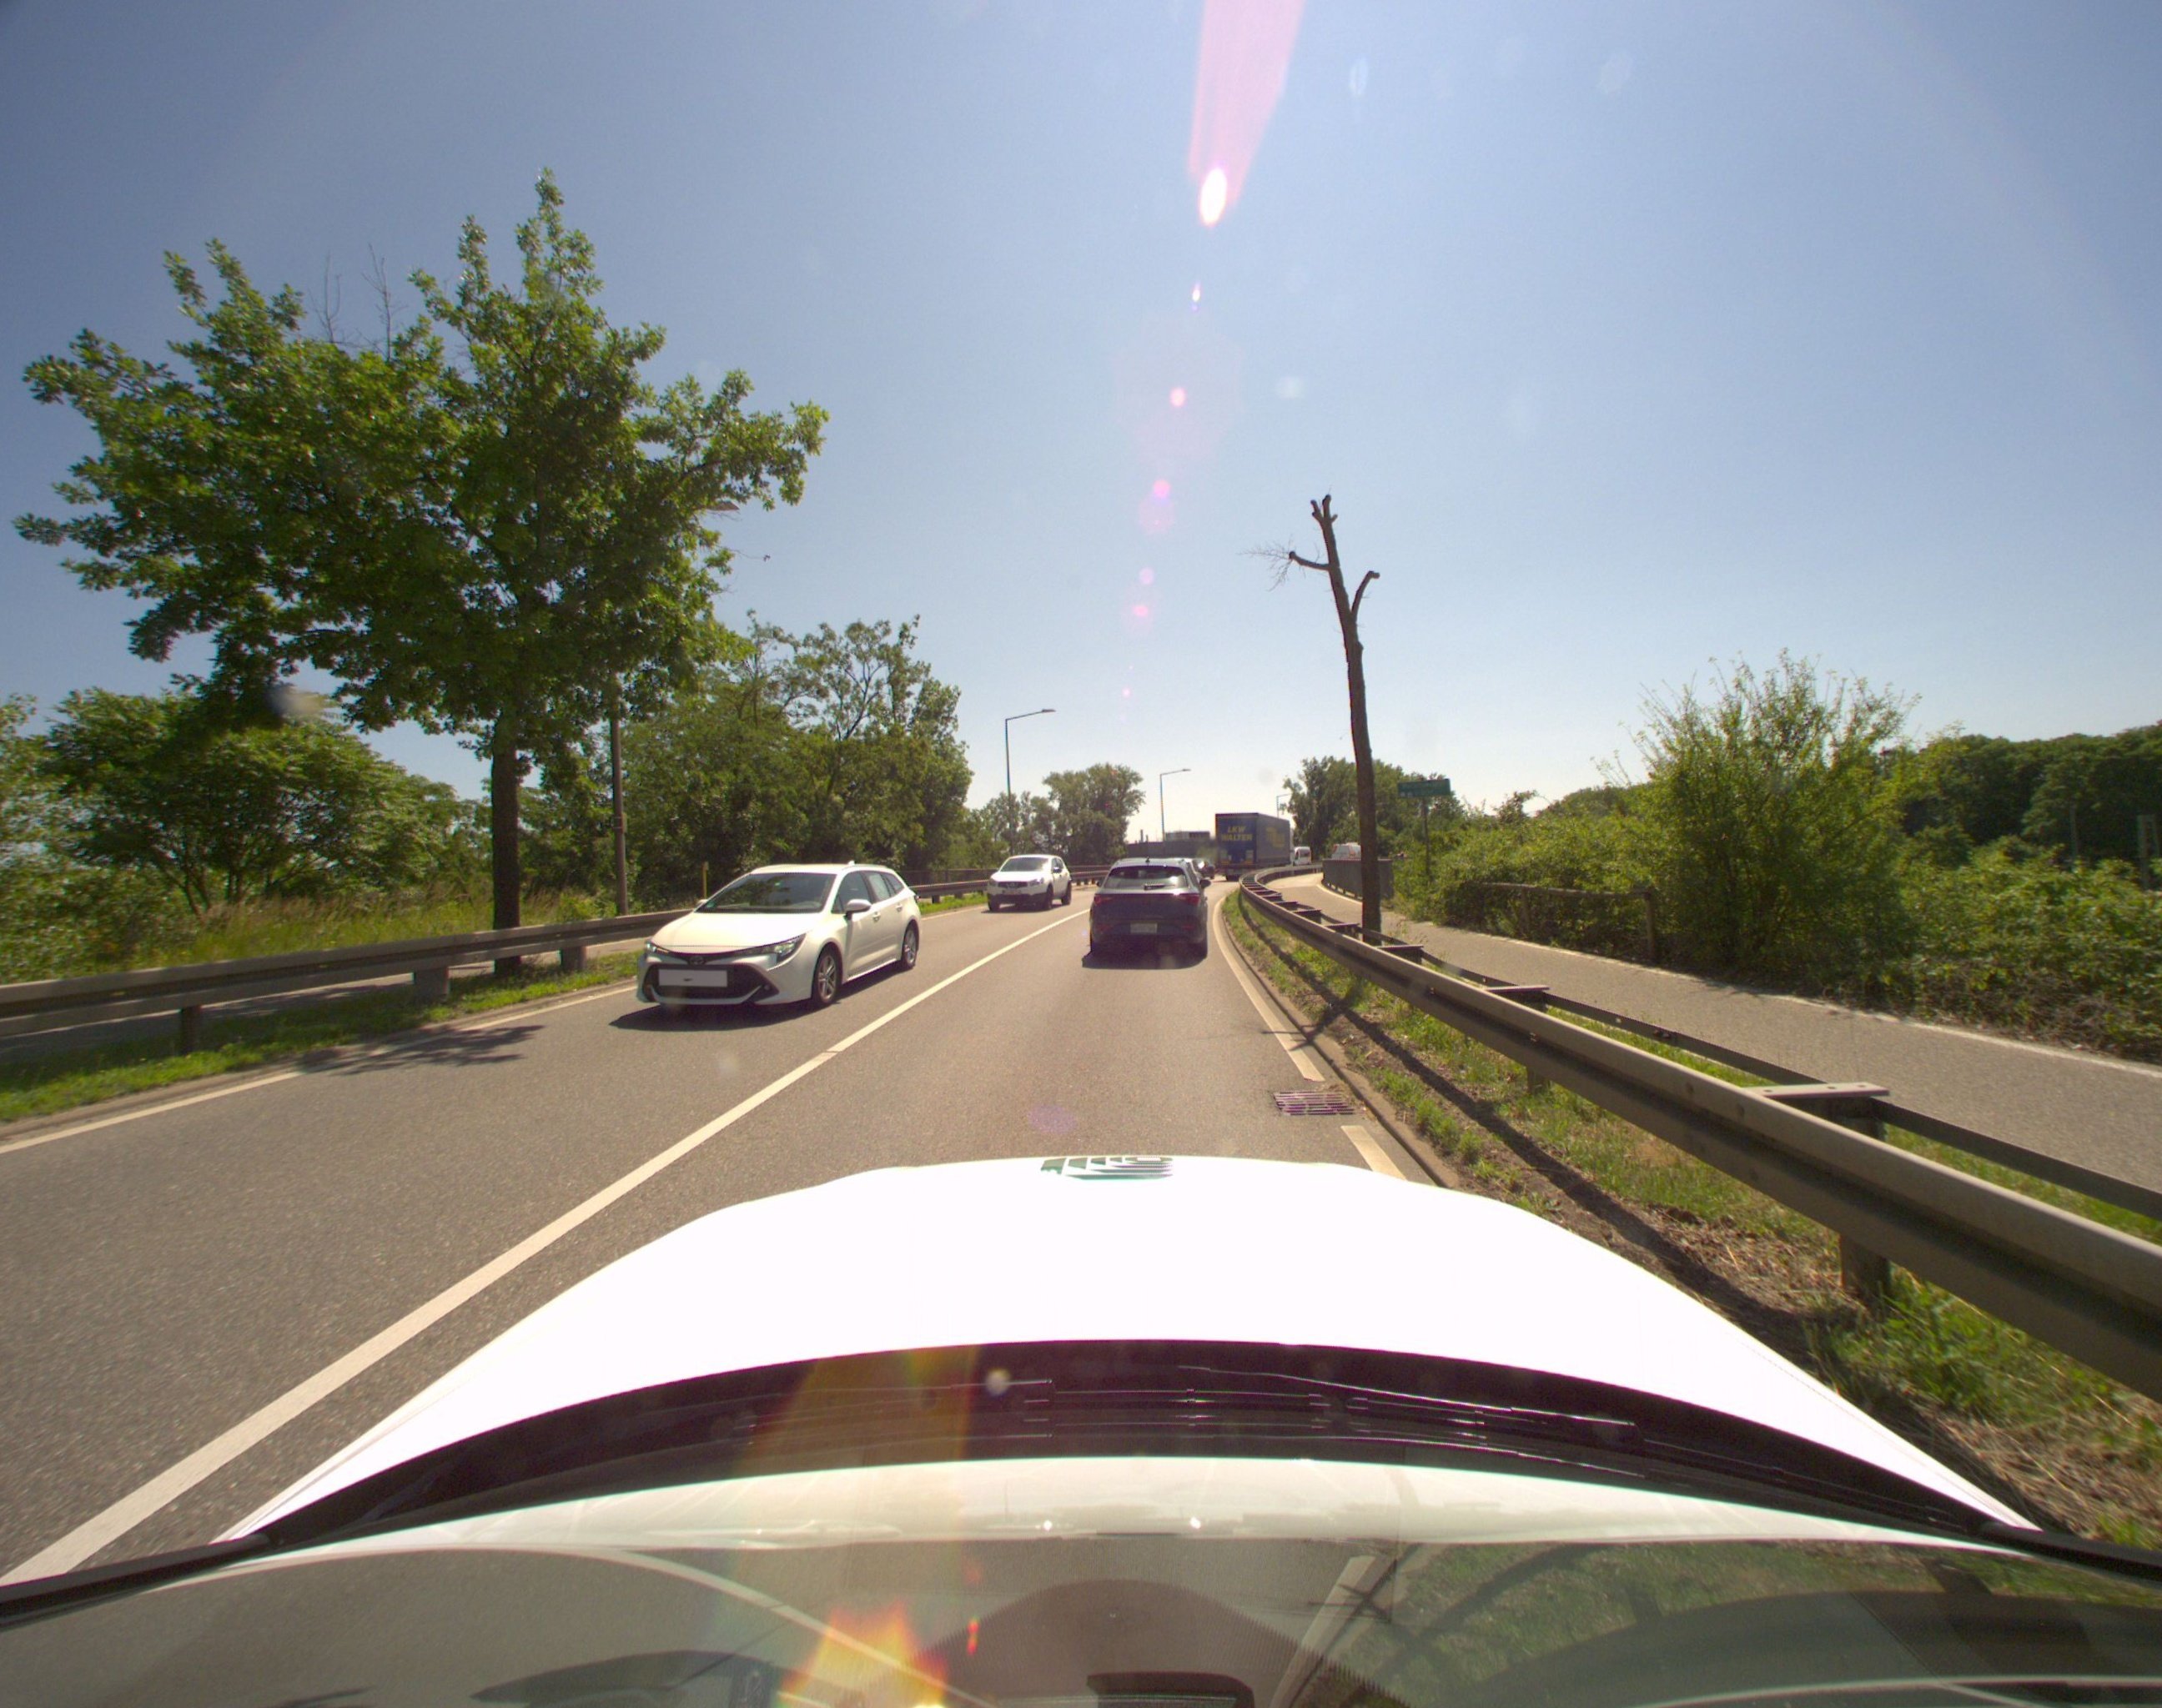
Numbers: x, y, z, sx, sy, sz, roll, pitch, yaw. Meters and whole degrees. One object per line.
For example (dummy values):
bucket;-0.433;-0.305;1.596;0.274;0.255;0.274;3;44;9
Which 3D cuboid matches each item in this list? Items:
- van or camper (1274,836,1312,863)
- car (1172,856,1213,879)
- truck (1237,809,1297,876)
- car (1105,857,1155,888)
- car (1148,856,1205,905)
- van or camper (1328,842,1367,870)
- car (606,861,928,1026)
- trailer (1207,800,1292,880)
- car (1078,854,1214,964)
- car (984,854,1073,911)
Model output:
van or camper;21.391;-0.486;81.925;2.028;2.537;5.921;-2;-1;32
car;7.279;0.872;52.978;1.742;1.442;4.590;-1;-1;19
truck;13.645;-0.723;59.259;3.142;4.585;7.435;0;-1;22
car;2.481;0.898;40.301;1.704;1.428;4.122;-1;0;14
car;3.152;0.809;26.488;1.583;1.461;3.555;0;0;11
van or camper;27.329;0.189;83.381;2.181;2.711;5.963;-1;0;34
car;-3.261;0.819;9.562;1.692;1.447;4.466;0;0;5
trailer;11.390;-0.768;53.760;3.107;4.614;13.017;0;-1;22
car;1.119;0.766;13.057;1.836;1.499;3.765;-1;0;7
car;-1.447;0.787;24.269;1.736;1.546;4.403;-1;0;8
